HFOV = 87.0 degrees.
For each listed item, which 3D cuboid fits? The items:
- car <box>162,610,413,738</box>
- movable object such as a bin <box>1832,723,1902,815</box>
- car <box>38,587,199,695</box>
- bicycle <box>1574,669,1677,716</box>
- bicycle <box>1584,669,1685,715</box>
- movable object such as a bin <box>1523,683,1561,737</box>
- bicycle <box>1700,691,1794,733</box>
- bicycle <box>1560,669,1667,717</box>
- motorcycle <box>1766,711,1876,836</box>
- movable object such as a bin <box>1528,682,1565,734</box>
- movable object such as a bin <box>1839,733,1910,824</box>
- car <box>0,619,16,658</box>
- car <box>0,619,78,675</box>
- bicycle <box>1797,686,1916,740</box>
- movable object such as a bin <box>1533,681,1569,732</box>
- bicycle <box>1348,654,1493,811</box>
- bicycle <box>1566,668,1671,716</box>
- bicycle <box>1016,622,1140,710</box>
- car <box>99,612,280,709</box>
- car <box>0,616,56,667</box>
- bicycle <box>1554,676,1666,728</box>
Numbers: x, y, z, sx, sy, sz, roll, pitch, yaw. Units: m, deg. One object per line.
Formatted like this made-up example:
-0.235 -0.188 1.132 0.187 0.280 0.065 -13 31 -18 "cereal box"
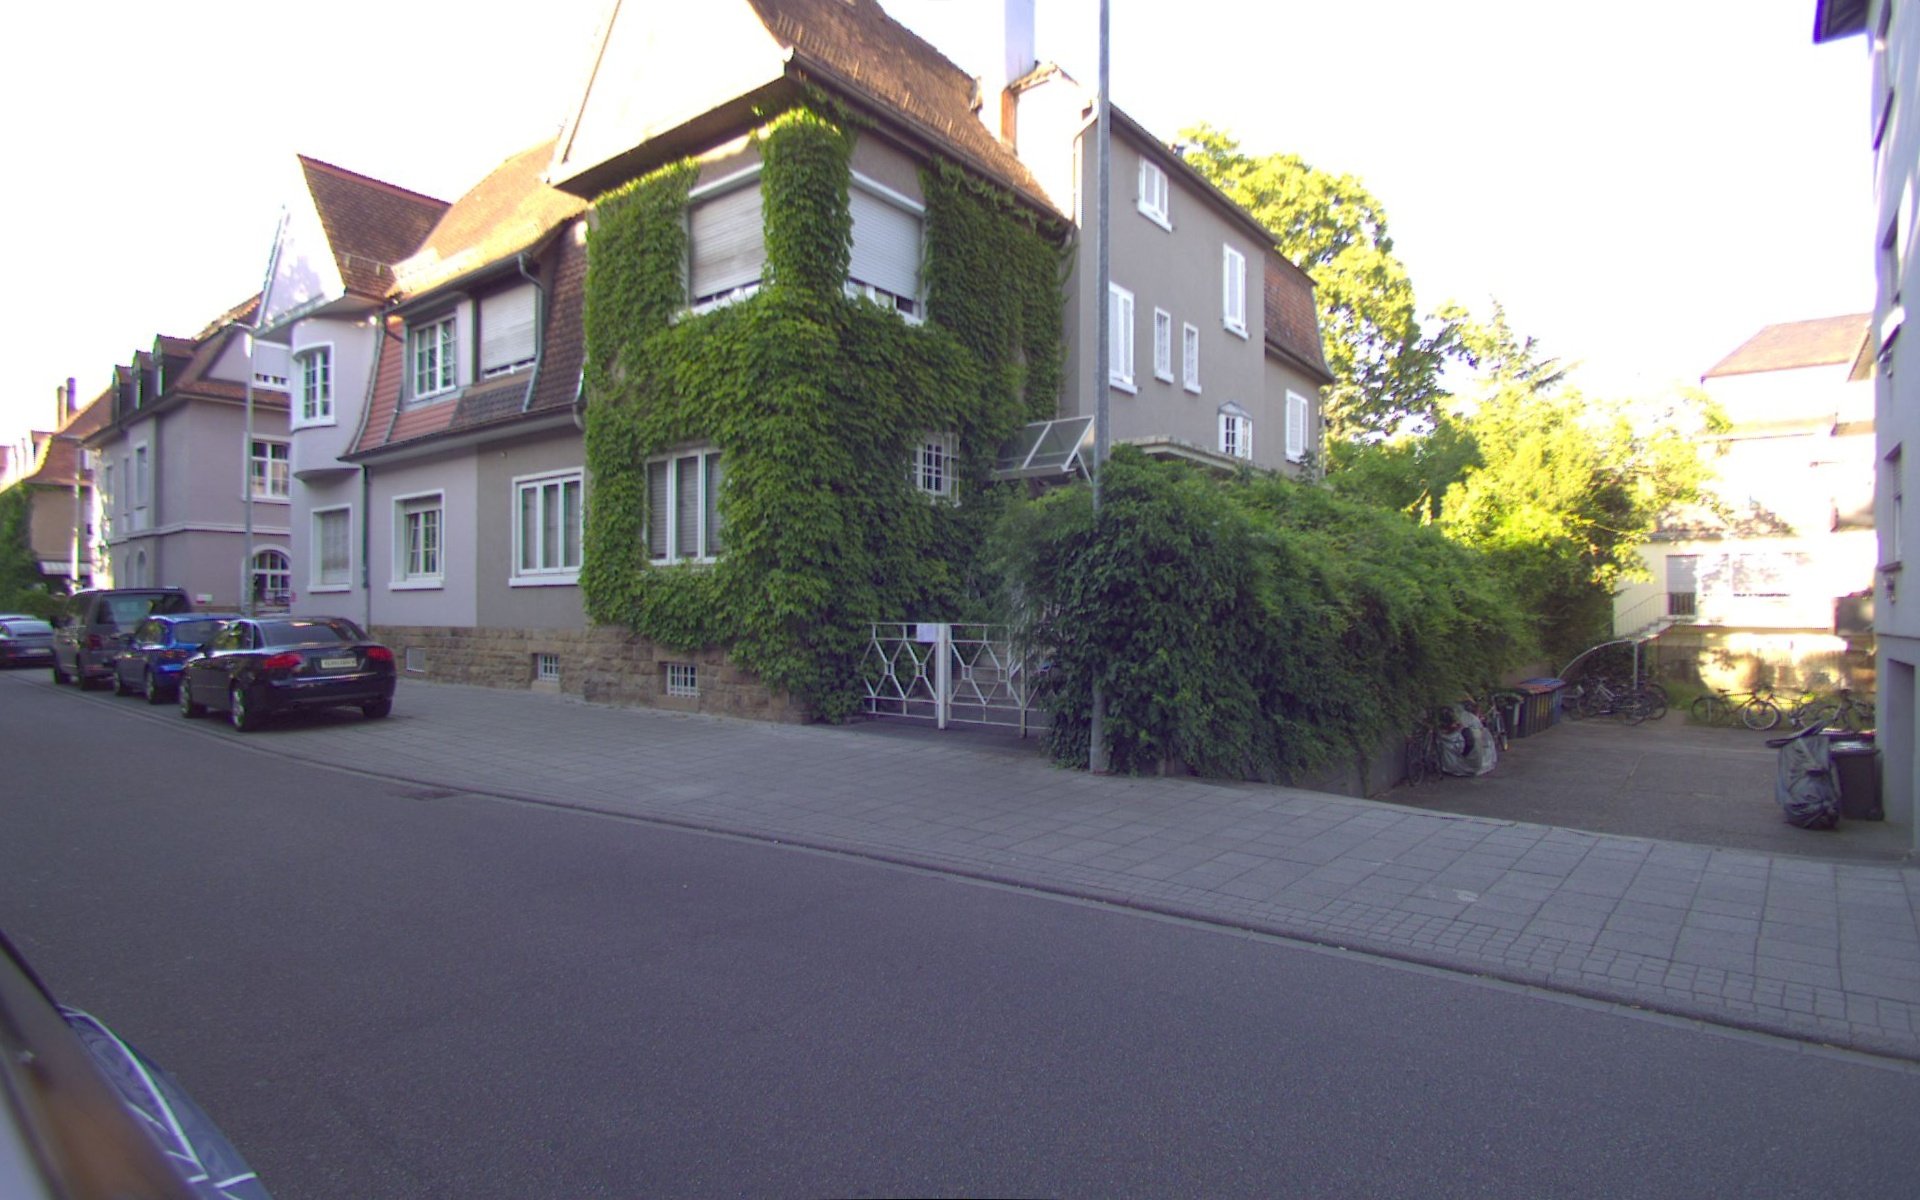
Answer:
-9.439 0.909 14.059 4.426 1.457 1.783 -1 1 41 "car"
12.287 2.274 13.731 0.611 1.123 0.792 -1 -4 37 "movable object such as a bin"
-17.537 0.785 21.018 4.610 1.990 1.819 -1 1 41 "car"
18.604 2.558 28.338 2.338 1.186 0.685 -1 -4 42 "bicycle"
19.188 2.601 28.833 2.338 1.186 0.685 -1 -4 42 "bicycle"
12.690 2.379 22.077 0.611 1.123 0.792 -1 -4 37 "movable object such as a bin"
18.881 2.665 24.304 1.754 0.886 0.558 -1 -4 42 "bicycle"
17.494 2.478 27.118 2.338 1.142 0.685 -1 -4 42 "bicycle"
10.696 2.114 12.628 0.742 1.305 1.565 -1 -2 30 "motorcycle"
13.166 2.415 22.719 0.611 1.123 0.792 -1 -4 37 "movable object such as a bin"
11.705 2.269 12.969 0.611 1.045 0.532 -1 -4 37 "movable object such as a bin"
-36.337 1.439 37.510 3.676 1.372 1.641 -1 1 42 "car"
-26.171 1.264 28.299 4.063 1.394 1.906 -1 1 44 "car"
20.358 2.540 23.029 2.005 1.080 0.558 -1 -4 42 "bicycle"
13.636 2.448 23.351 0.611 1.123 0.792 -1 -4 37 "movable object such as a bin"
6.812 1.782 14.756 0.971 1.907 4.138 -1 -3 38 "bicycle"
18.046 2.506 27.770 2.338 1.186 0.685 -1 -4 42 "bicycle"
1.689 0.883 14.189 0.476 1.111 2.172 -1 -1 45 "bicycle"
-13.648 0.979 17.848 4.060 1.457 1.745 -1 1 41 "car"
-30.185 1.295 32.033 4.061 1.478 1.907 -1 1 42 "car"
16.228 2.522 25.305 2.294 1.142 0.685 -1 -4 42 "bicycle"
